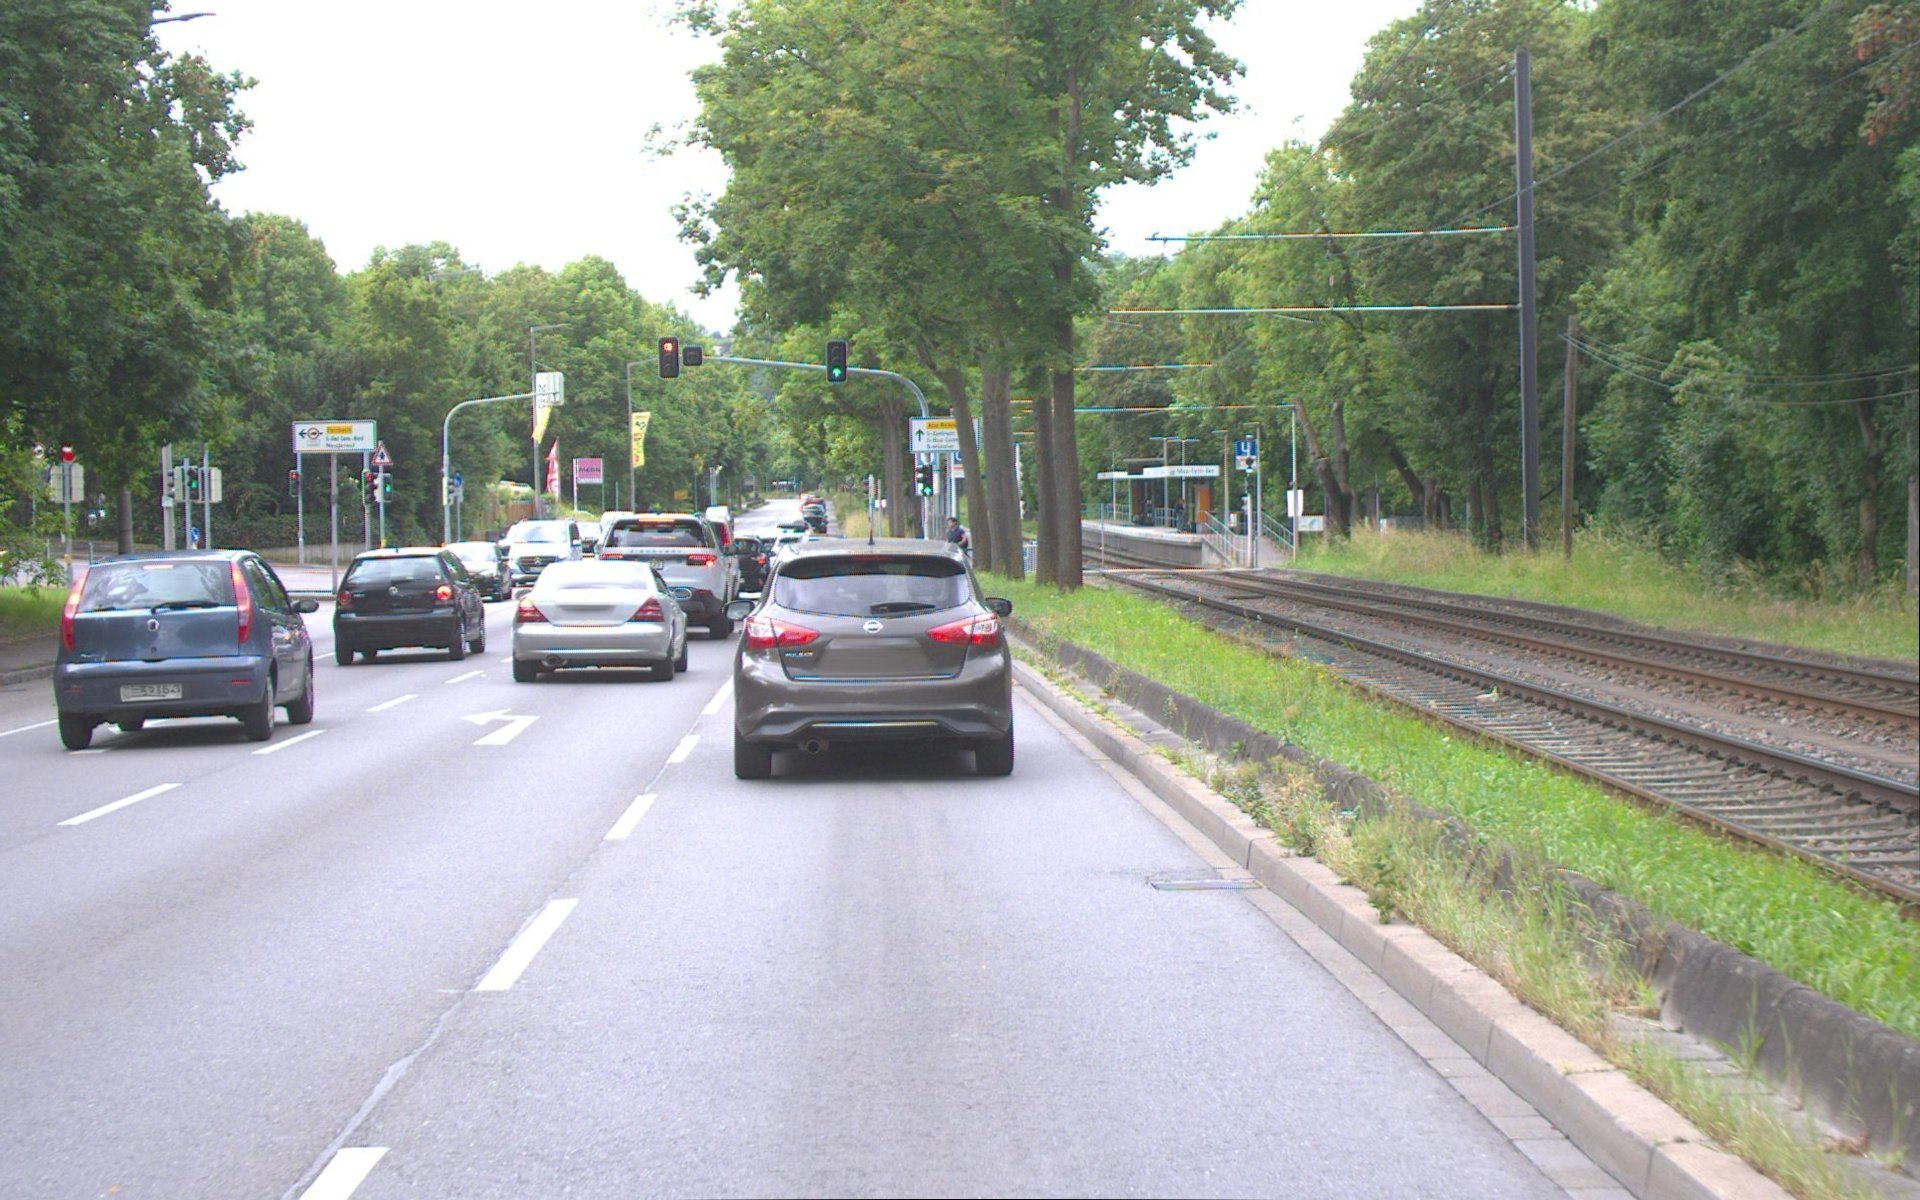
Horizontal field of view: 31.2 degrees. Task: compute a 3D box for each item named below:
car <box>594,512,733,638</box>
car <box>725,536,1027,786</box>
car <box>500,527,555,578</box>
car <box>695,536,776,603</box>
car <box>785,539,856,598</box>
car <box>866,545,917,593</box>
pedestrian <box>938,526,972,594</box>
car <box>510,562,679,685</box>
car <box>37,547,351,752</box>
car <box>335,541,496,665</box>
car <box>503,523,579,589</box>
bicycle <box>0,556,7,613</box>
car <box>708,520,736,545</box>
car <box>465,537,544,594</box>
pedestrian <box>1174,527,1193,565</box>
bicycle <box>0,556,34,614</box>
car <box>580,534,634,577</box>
[{"bbox_3d":[-4.397,-0.379,51.552,1.803,1.789,4.503,0,0,-2],"label":"car"},{"bbox_3d":[-0.521,0.337,22.964,1.837,1.523,3.929,0,1,0],"label":"car"},{"bbox_3d":[-15.564,-1.729,123.908,1.943,1.805,4.445,0,1,-7],"label":"car"},{"bbox_3d":[-5.093,-0.712,78.357,1.703,1.475,3.668,0,1,-2],"label":"car"},{"bbox_3d":[-3.622,-0.837,89.565,1.710,1.470,3.671,0,1,0],"label":"car"},{"bbox_3d":[-2.231,-1.012,111.415,1.503,1.523,3.672,0,1,-3],"label":"car"},{"bbox_3d":[-0.134,-1.036,89.058,0.752,1.731,0.839,-3,1,3],"label":"pedestrian"},{"bbox_3d":[-3.942,0.226,37.537,1.555,1.262,3.823,0,1,-2],"label":"car"},{"bbox_3d":[-6.032,0.339,27.480,1.591,1.463,3.929,-2,1,0],"label":"car"},{"bbox_3d":[-7.046,0.005,44.787,1.556,1.461,3.808,-3,1,-2],"label":"car"},{"bbox_3d":[-12.080,-1.282,99.417,1.791,1.825,4.410,-2,1,-3],"label":"car"},{"bbox_3d":[-21.611,-0.334,74.502,0.545,1.248,1.931,1,1,36],"label":"bicycle"},{"bbox_3d":[-16.199,-4.613,233.831,1.901,1.673,5.081,-1,1,-4],"label":"car"},{"bbox_3d":[-11.380,-0.884,86.045,1.630,1.390,3.833,0,1,-3],"label":"car"},{"bbox_3d":[9.124,-2.207,140.233,0.718,1.506,0.724,1,0,1],"label":"pedestrian"},{"bbox_3d":[-20.963,-0.321,74.224,0.545,1.248,1.931,1,1,36],"label":"bicycle"},{"bbox_3d":[-12.829,-1.609,125.060,1.739,1.533,3.910,1,1,-3],"label":"car"}]
